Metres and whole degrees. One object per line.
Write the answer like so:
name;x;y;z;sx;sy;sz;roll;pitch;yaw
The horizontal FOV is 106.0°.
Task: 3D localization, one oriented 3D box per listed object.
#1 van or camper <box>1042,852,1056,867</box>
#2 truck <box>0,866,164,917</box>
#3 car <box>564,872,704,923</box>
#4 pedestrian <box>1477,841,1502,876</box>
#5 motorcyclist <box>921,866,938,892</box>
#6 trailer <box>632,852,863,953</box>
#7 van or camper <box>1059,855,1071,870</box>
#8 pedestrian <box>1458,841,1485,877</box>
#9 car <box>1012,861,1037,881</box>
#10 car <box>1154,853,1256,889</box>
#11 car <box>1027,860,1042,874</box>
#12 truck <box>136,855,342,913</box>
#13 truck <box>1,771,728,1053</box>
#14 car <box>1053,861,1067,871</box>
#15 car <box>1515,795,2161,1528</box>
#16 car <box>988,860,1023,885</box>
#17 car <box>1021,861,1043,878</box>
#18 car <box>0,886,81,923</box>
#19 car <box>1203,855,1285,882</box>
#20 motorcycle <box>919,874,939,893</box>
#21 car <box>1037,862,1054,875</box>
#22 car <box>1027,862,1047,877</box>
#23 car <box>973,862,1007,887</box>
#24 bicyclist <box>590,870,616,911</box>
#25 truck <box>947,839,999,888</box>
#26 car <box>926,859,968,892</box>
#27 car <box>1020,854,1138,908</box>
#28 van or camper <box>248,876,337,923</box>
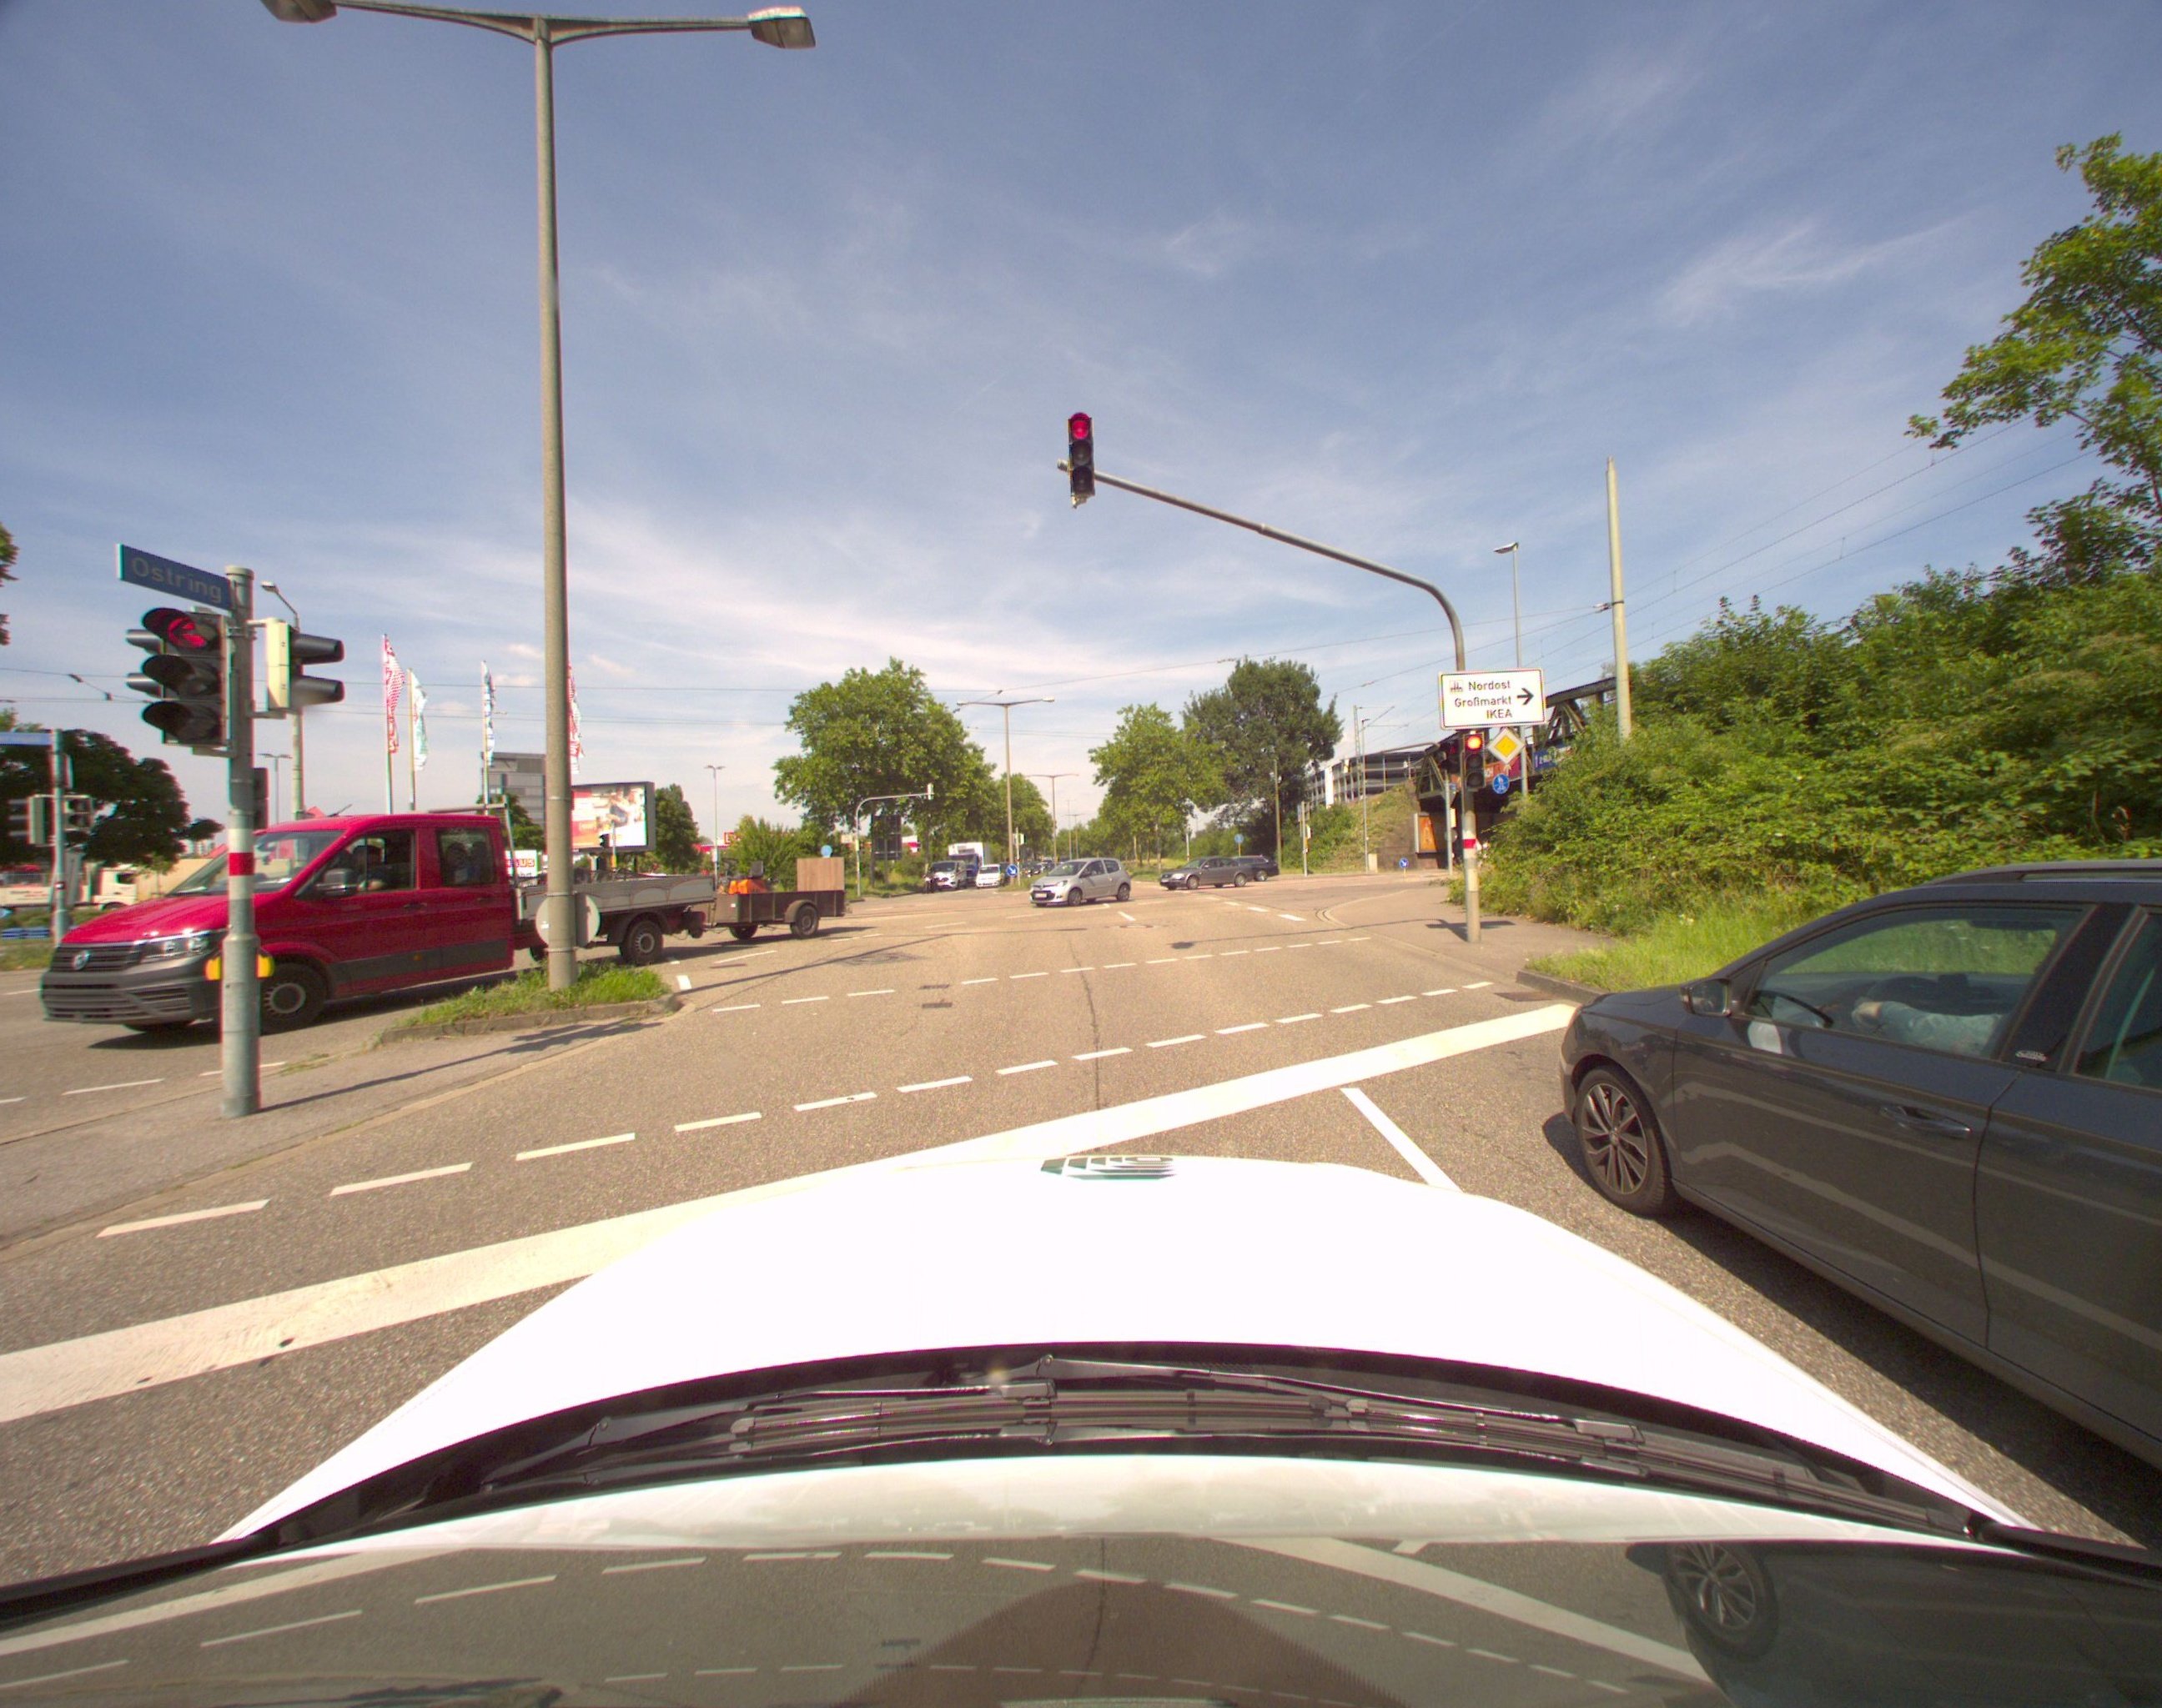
van or camper;-5.839;0.997;148.268;2.007;2.587;5.519;-3;0;2
truck;-64.801;2.352;50.752;9.655;2.892;2.895;-2;-1;-35
car;-14.556;1.372;26.594;3.875;1.427;1.682;-2;-1;-33
pedestrian;18.910;0.198;37.678;0.726;1.579;0.778;-2;-1;1
motorcyclist;-9.061;1.500;48.628;0.740;1.470;0.988;-2;0;1
trailer;-6.411;0.862;16.183;2.045;1.715;4.010;-2;0;19
van or camper;-2.726;1.467;141.010;1.932;2.368;5.397;-3;-1;0
pedestrian;18.021;0.232;37.593;0.865;1.611;0.778;-2;-1;1
car;-4.951;1.460;72.260;1.682;1.586;4.242;-3;0;2
car;5.637;0.748;36.806;4.474;1.411;1.624;-2;0;-29
car;-6.754;1.905;119.278;1.682;1.858;4.038;-3;-1;2
truck;-55.061;1.880;53.726;8.964;3.311;3.125;-2;-1;-36
truck;-8.156;0.522;10.853;2.123;2.475;7.160;-2;0;17
car;-3.169;1.840;125.487;1.777;1.459;4.473;-3;0;2
car;2.985;0.602;2.101;1.668;1.453;4.037;-1;0;2
car;-5.404;1.325;58.755;1.813;1.646;4.695;-3;-1;2
car;-4.769;1.535;79.535;1.682;1.473;4.220;-4;0;2
car;-77.024;3.664;59.876;2.396;2.529;6.066;-2;-1;-31
car;9.376;0.829;46.855;4.259;1.391;1.830;-2;0;-16
motorcycle;-9.024;1.743;48.531;0.685;0.991;2.218;-2;0;2
car;-4.234;1.706;97.865;1.778;1.489;4.211;-3;0;1
car;-4.566;1.605;85.170;1.682;1.472;3.816;-3;0;2
car;-5.846;1.319;52.879;1.587;1.477;3.731;-3;0;2
bicyclist;-17.849;1.366;30.400;0.523;1.491;0.612;-2;-1;17
truck;-8.405;0.684;63.955;2.793;3.471;6.693;-4;0;2
car;-8.765;1.377;53.704;1.970;1.999;5.030;-2;0;-1
car;-0.005;0.834;26.195;1.633;1.514;3.759;-2;0;42
van or camper;-41.030;2.301;42.550;2.204;2.210;5.462;-2;-1;-32
